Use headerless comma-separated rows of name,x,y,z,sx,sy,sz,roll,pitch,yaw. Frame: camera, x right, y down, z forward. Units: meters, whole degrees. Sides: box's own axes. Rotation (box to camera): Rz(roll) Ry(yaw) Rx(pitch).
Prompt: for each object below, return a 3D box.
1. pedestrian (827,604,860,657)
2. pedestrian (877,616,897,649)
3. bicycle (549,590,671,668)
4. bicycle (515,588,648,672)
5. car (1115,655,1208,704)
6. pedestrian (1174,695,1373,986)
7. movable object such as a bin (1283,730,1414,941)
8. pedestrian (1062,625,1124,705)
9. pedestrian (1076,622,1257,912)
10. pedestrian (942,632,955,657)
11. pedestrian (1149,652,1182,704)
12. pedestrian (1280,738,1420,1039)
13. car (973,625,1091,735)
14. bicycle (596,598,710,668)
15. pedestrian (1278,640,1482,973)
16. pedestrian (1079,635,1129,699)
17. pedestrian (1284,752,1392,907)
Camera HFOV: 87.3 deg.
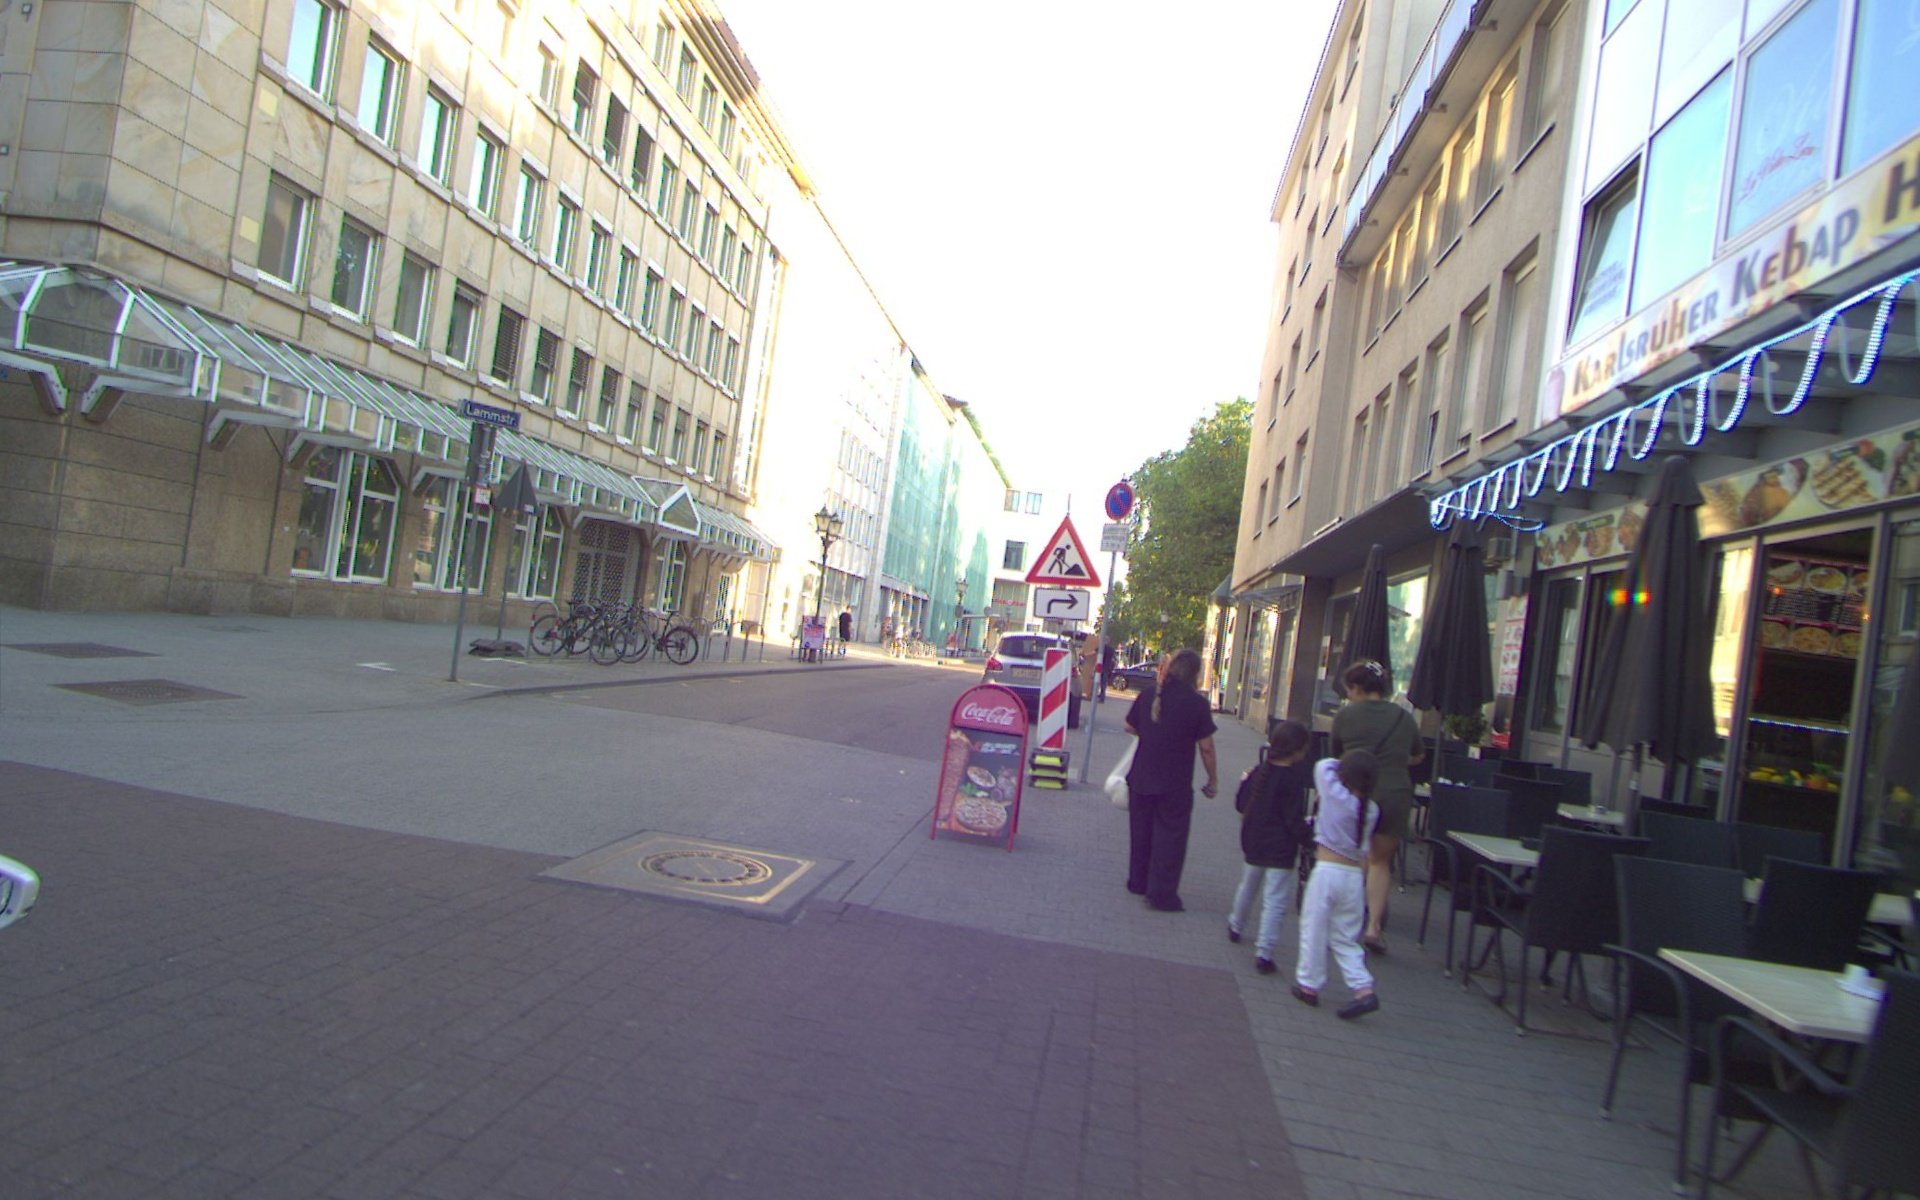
pedestrian,-4.076,1.065,35.244,0.758,1.752,0.916,7,0,9
pedestrian,-3.639,1.615,49.977,0.649,1.591,0.730,7,0,9
bicycle,-6.235,0.517,17.951,1.912,1.063,0.545,9,0,11
bicycle,-6.266,0.497,16.668,1.912,1.063,0.544,9,0,9
car,9.112,3.554,45.501,3.898,1.636,1.854,7,-1,12
pedestrian,1.577,1.165,5.073,0.656,1.262,0.512,7,-1,43
movable object such as a bin,2.329,1.381,6.106,0.577,1.049,0.800,8,-1,19
pedestrian,3.544,1.718,26.893,1.201,1.961,0.890,8,0,-7
pedestrian,1.268,0.972,6.123,0.711,1.549,0.717,7,-1,30
pedestrian,-0.608,2.317,52.442,0.441,1.268,0.471,7,0,9
pedestrian,7.309,2.761,35.765,0.924,1.724,0.892,7,-1,11
pedestrian,1.696,1.210,4.375,0.403,1.137,0.473,8,0,23
car,1.462,1.418,18.856,1.771,1.608,3.944,8,-1,8
bicycle,-5.868,0.626,19.257,1.912,1.040,0.513,8,0,7
pedestrian,2.222,1.050,5.408,0.779,1.554,0.621,8,0,19
pedestrian,4.252,1.979,29.769,0.936,1.724,0.881,8,-1,-40
pedestrian,2.359,1.416,6.325,0.502,0.802,0.550,7,-1,17
